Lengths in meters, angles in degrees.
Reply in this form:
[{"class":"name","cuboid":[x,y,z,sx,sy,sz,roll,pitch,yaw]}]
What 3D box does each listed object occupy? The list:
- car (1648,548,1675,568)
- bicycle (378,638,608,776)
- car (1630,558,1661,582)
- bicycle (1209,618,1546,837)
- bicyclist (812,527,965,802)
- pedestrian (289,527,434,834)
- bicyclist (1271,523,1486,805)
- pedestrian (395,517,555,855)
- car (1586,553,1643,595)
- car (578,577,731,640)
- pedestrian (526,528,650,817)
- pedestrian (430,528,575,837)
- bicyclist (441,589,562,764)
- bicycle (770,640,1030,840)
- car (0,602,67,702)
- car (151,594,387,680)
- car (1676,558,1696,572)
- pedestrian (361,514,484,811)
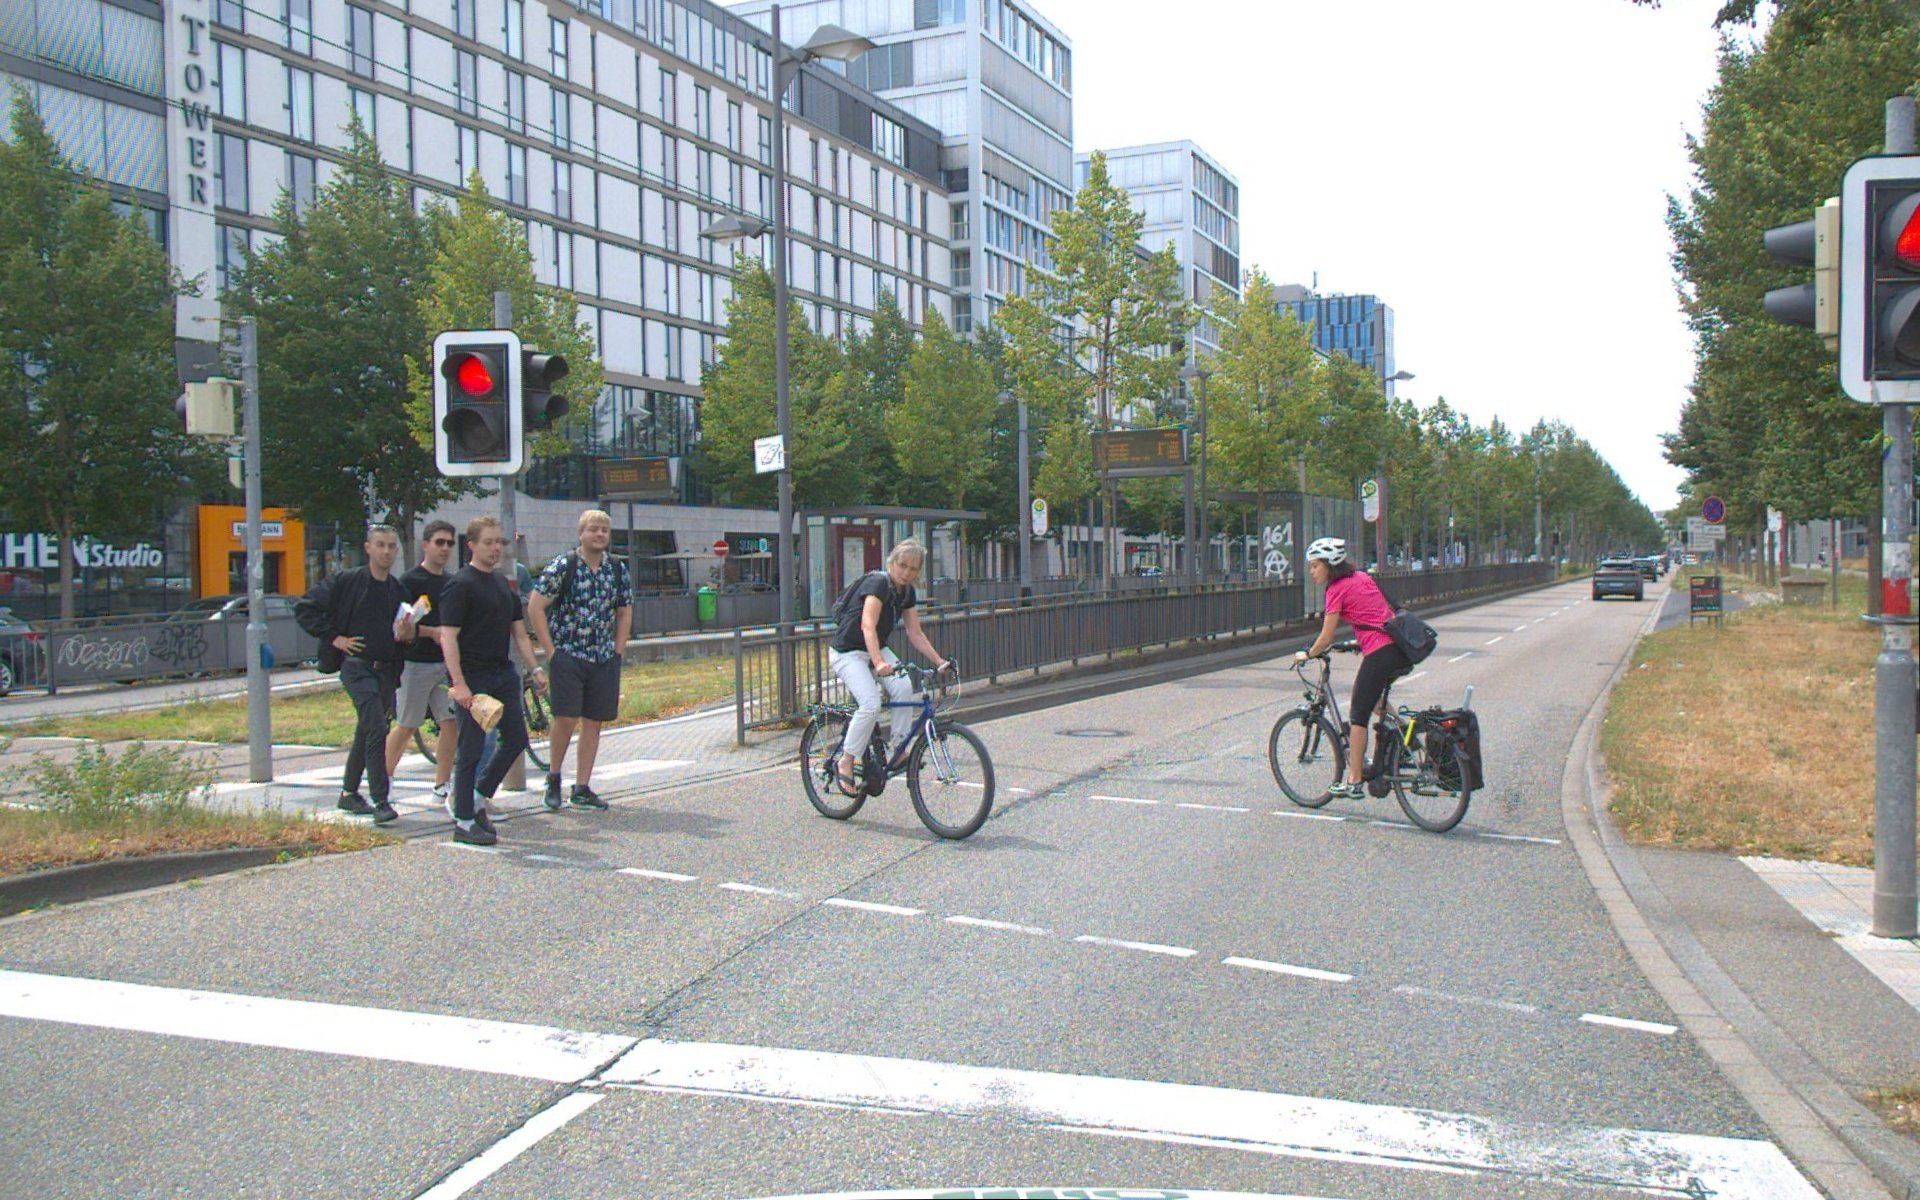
[{"class":"car","cuboid":[54.796,-3.258,129.281,1.787,1.488,4.260,-1,1,21]},{"class":"bicycle","cuboid":[-3.714,0.825,13.156,1.715,1.024,0.654,0,1,22]},{"class":"car","cuboid":[44.295,-1.951,106.837,1.701,1.545,4.144,-1,1,25]},{"class":"bicycle","cuboid":[2.575,0.735,10.433,0.783,1.188,2.014,-2,1,-37]},{"class":"bicyclist","cuboid":[-0.442,0.371,10.129,0.752,1.608,0.557,0,1,42]},{"class":"pedestrian","cuboid":[-3.657,0.471,10.137,0.540,1.812,0.633,-1,0,18]},{"class":"bicyclist","cuboid":[2.609,0.363,10.360,0.783,1.655,1.035,-2,1,-36]},{"class":"pedestrian","cuboid":[-2.709,0.456,9.279,0.540,1.812,0.690,-1,0,18]},{"class":"car","cuboid":[26.260,-1.065,66.282,2.016,1.578,4.474,-1,1,23]},{"class":"car","cuboid":[-7.687,0.193,41.996,1.806,1.483,3.997,0,1,26]},{"class":"pedestrian","cuboid":[-2.407,0.450,10.733,0.540,1.812,0.581,-1,0,18]},{"class":"pedestrian","cuboid":[-2.781,0.479,10.096,0.540,1.812,0.690,-1,0,18]},{"class":"bicyclist","cuboid":[-3.631,0.588,13.123,0.659,1.340,0.640,0,1,22]},{"class":"bicycle","cuboid":[-0.396,0.807,10.094,1.683,1.077,0.545,0,1,43]},{"class":"car","cuboid":[-15.836,0.819,24.199,1.806,1.483,4.735,0,1,25]},{"class":"car","cuboid":[-13.170,0.658,31.752,1.806,1.483,3.997,0,1,26]},{"class":"car","cuboid":[87.664,-4.244,199.620,1.955,1.646,4.748,-1,1,27]},{"class":"pedestrian","cuboid":[-3.533,0.399,10.890,0.540,1.894,0.531,-1,0,19]}]
